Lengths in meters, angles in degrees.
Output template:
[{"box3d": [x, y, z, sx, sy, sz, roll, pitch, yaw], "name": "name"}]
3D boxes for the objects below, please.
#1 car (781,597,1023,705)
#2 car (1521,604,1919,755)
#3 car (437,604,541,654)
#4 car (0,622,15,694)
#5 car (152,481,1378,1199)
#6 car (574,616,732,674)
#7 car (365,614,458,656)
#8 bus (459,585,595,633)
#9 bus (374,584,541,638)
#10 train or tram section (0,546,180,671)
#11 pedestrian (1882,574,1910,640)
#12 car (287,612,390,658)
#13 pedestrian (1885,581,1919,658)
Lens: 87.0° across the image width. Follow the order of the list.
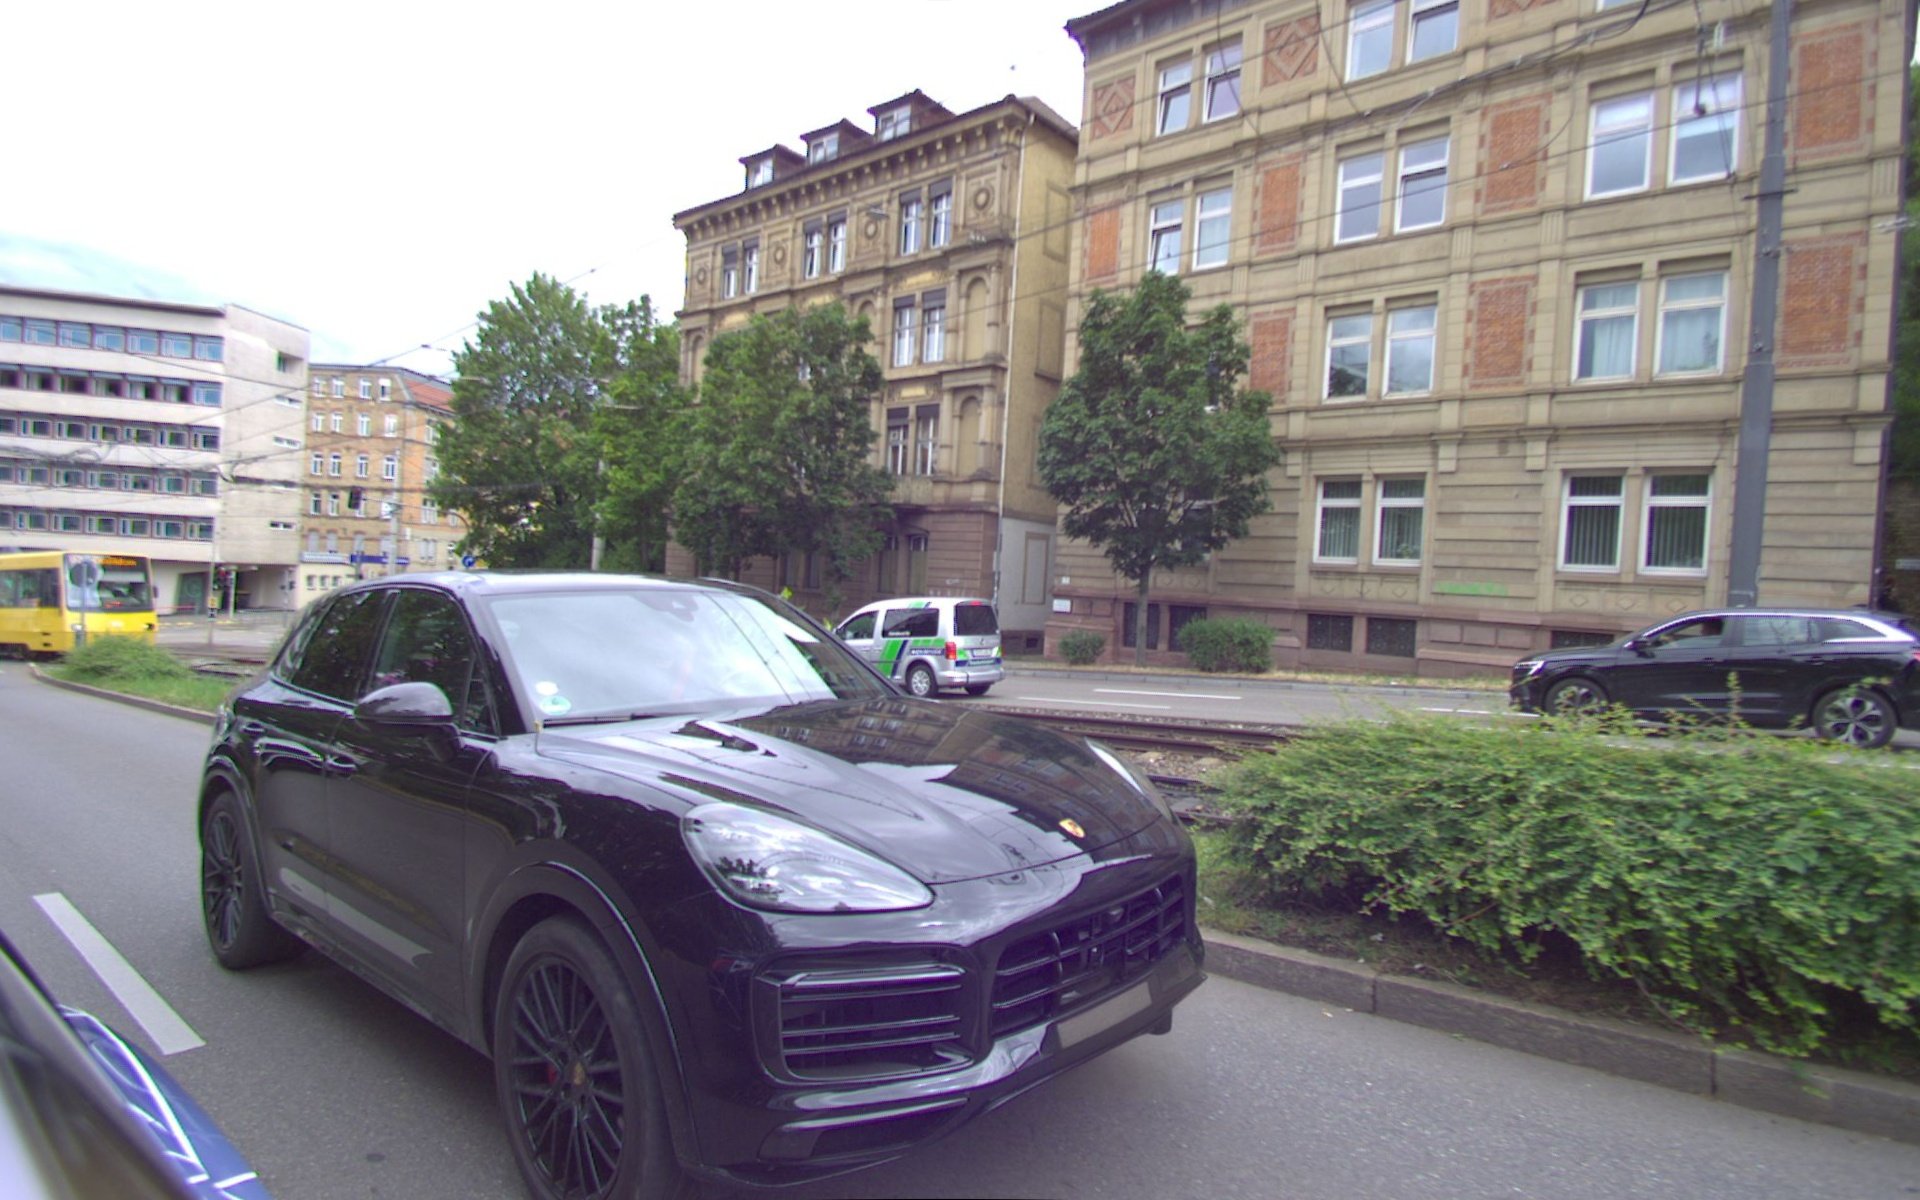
[{"box3d": [-1.180, 0.923, 19.113, 4.513, 1.801, 1.860, -1, -3, 40], "name": "car"}, {"box3d": [9.485, 0.843, 12.230, 4.438, 1.566, 1.844, 0, -1, 43], "name": "car"}, {"box3d": [-18.789, 1.114, 40.274, 4.992, 1.864, 1.972, 0, -1, 42], "name": "car"}, {"box3d": [-22.470, 1.213, 21.991, 4.520, 1.486, 1.876, 1, 2, 34], "name": "car"}, {"box3d": [-1.205, 0.648, 3.837, 4.778, 1.697, 2.007, 1, 0, 40], "name": "car"}, {"box3d": [-8.567, 1.231, 28.009, 4.943, 1.461, 1.800, -2, -2, 41], "name": "car"}, {"box3d": [-20.933, 1.297, 38.558, 4.404, 1.438, 1.724, 0, 0, 42], "name": "car"}, {"box3d": [-30.005, 0.586, 70.984, 3.286, 3.066, 11.331, 0, 0, 9], "name": "bus"}, {"box3d": [-31.150, 0.619, 63.633, 3.352, 3.052, 11.515, 0, 0, 9], "name": "bus"}, {"box3d": [-32.150, 0.172, 34.492, 14.401, 3.691, 2.865, 0, 1, 27], "name": "train or tram section"}, {"box3d": [25.056, 0.203, 27.083, 0.492, 1.752, 0.511, -1, -3, 40], "name": "pedestrian"}, {"box3d": [-22.684, 1.250, 36.867, 4.404, 1.530, 1.972, 0, -1, 41], "name": "car"}, {"box3d": [20.880, 0.436, 22.384, 0.559, 1.665, 0.615, -1, -3, 40], "name": "pedestrian"}]
